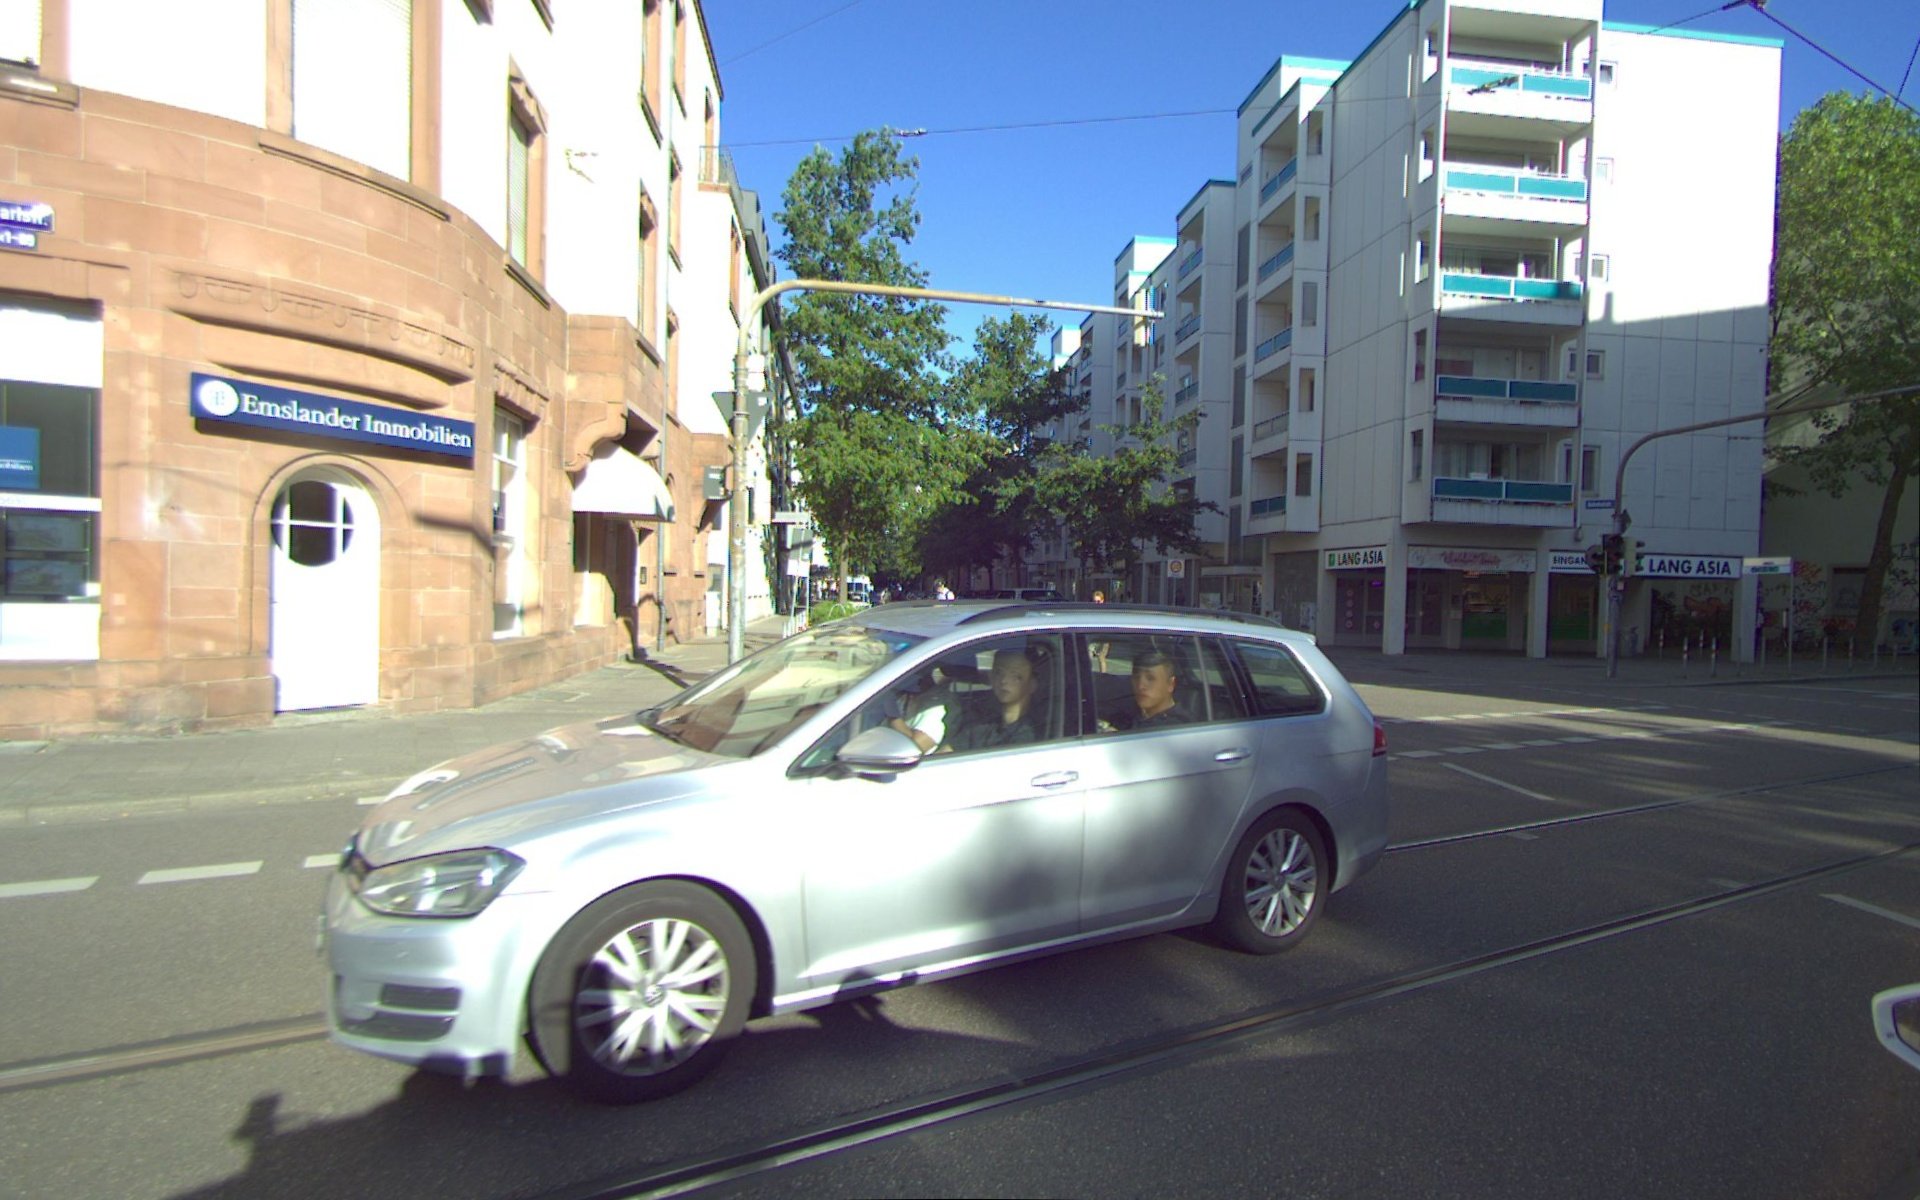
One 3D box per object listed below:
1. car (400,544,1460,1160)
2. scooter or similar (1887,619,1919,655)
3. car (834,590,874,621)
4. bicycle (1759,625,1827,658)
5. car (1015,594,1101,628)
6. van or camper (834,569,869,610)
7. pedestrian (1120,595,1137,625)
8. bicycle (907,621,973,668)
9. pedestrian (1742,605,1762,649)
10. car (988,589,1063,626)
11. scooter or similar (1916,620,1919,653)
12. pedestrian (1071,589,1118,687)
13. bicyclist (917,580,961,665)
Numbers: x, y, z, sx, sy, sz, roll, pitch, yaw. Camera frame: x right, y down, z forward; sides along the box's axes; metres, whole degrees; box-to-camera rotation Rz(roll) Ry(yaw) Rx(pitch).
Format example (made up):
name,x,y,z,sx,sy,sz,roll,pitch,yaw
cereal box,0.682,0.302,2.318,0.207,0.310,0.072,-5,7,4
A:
name,x,y,z,sx,sy,sz,roll,pitch,yaw
car,-0.006,0.638,4.433,4.259,1.522,1.975,1,1,-31
scooter or similar,34.860,1.345,36.812,0.762,1.275,1.217,1,1,-42
car,-5.469,0.234,51.955,1.962,1.483,3.996,1,1,-5
bicycle,28.795,1.425,34.750,0.652,1.048,1.921,1,0,-3
car,4.741,0.522,48.535,3.952,1.506,1.593,0,3,-30
van or camper,-6.769,-0.670,62.989,1.962,2.397,5.470,1,1,-5
pedestrian,8.802,0.521,52.541,0.703,1.514,0.744,1,1,1
bicycle,-0.406,0.936,21.687,0.776,0.921,1.813,2,1,21
pedestrian,32.293,1.100,40.969,0.541,1.741,0.453,1,1,-31
car,3.573,0.411,54.142,3.964,1.900,1.588,1,1,-38
scooter or similar,35.867,1.363,36.940,0.762,1.238,0.929,1,1,-42
pedestrian,2.222,0.615,16.632,0.510,1.573,0.539,1,1,-31
bicyclist,-0.441,0.473,21.633,0.603,1.787,0.974,2,1,21
